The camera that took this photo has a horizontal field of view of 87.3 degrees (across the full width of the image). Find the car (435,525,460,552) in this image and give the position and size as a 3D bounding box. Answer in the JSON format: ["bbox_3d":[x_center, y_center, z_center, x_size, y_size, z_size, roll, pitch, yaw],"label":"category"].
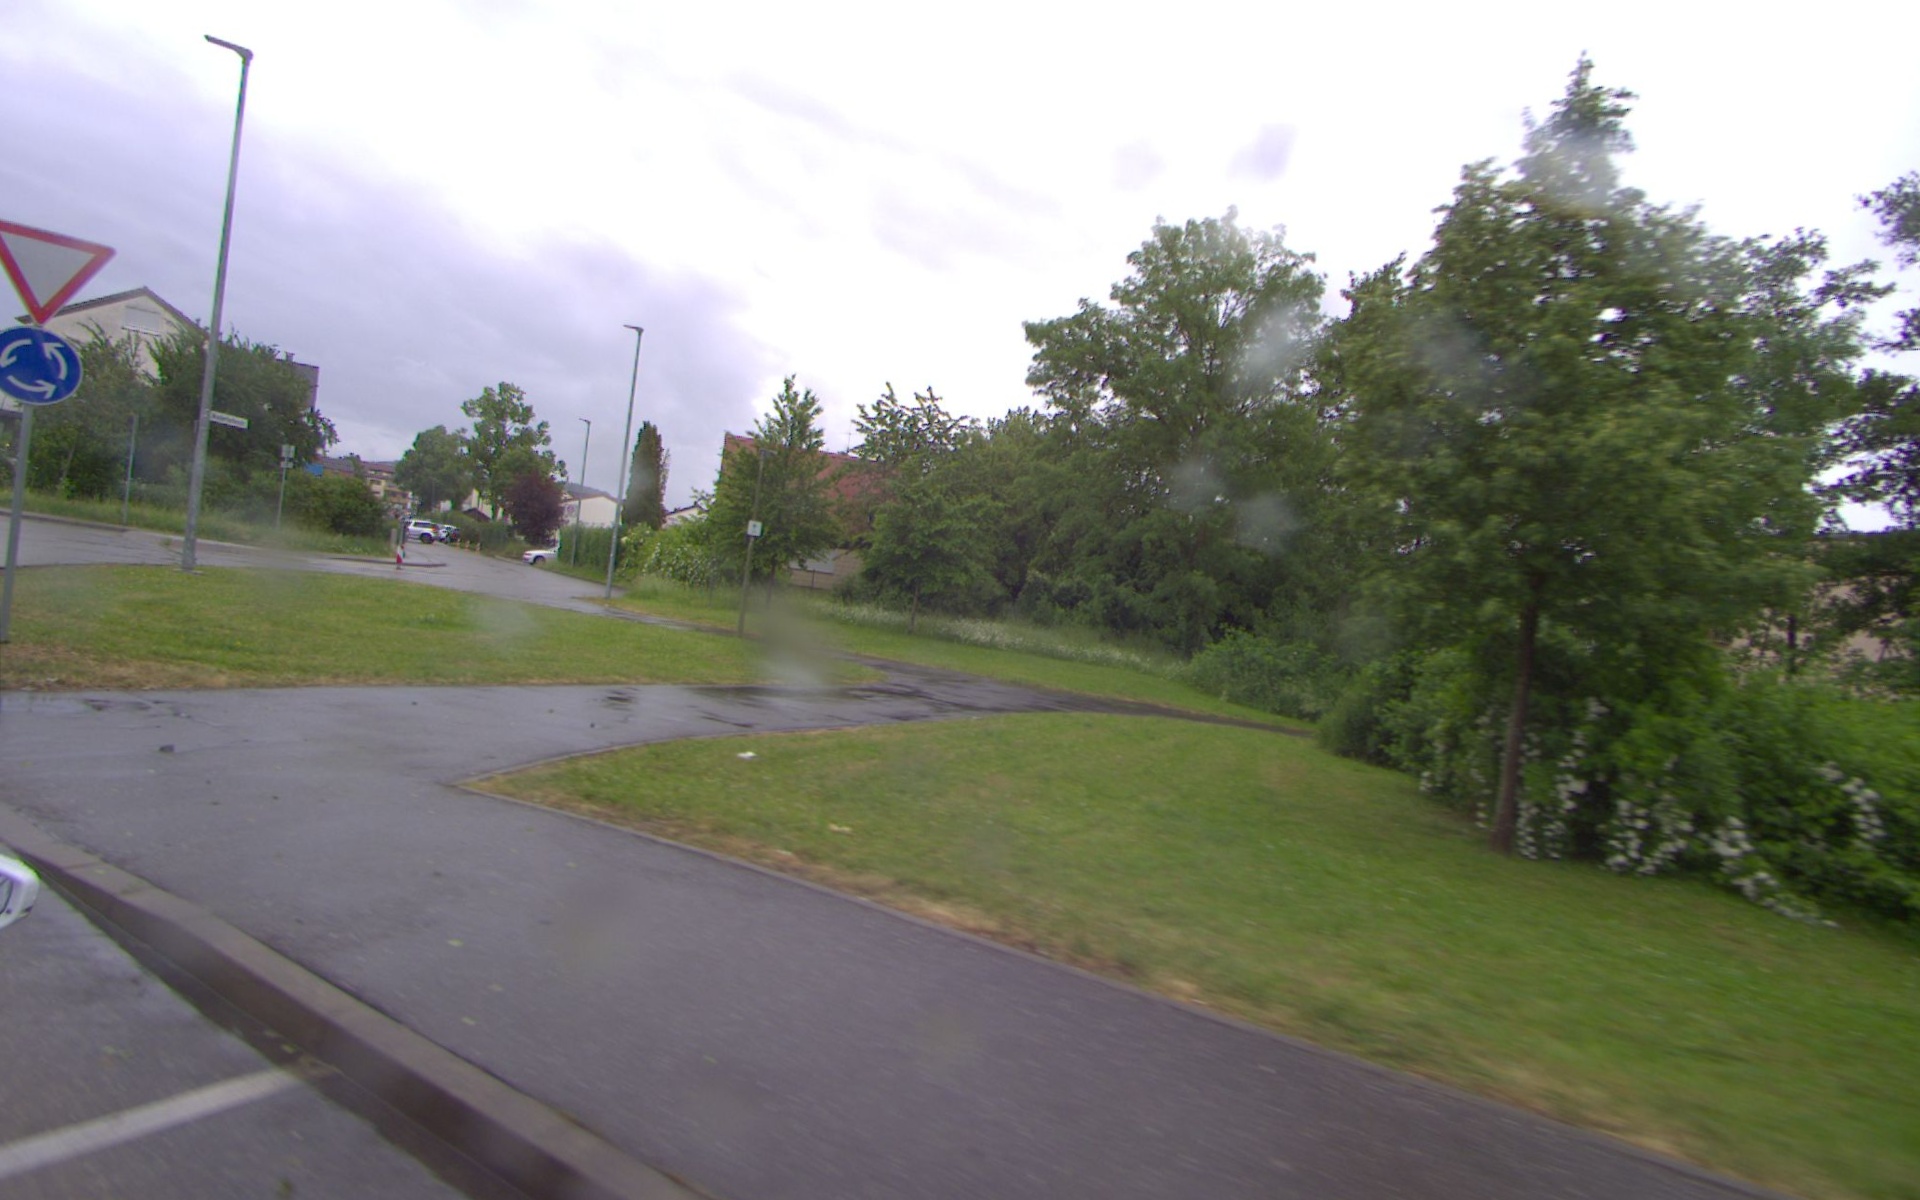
[{"bbox_3d":[-44.048,-5.252,86.525,1.569,2.039,3.975,6,0,-25],"label":"car"}]

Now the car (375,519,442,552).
[{"bbox_3d":[-41.189,-4.809,75.242,3.942,1.850,1.889,7,0,-19],"label":"car"}]

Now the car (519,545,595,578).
[{"bbox_3d":[-24.803,-2.366,61.922,3.961,1.390,1.769,9,0,-32],"label":"car"}]
